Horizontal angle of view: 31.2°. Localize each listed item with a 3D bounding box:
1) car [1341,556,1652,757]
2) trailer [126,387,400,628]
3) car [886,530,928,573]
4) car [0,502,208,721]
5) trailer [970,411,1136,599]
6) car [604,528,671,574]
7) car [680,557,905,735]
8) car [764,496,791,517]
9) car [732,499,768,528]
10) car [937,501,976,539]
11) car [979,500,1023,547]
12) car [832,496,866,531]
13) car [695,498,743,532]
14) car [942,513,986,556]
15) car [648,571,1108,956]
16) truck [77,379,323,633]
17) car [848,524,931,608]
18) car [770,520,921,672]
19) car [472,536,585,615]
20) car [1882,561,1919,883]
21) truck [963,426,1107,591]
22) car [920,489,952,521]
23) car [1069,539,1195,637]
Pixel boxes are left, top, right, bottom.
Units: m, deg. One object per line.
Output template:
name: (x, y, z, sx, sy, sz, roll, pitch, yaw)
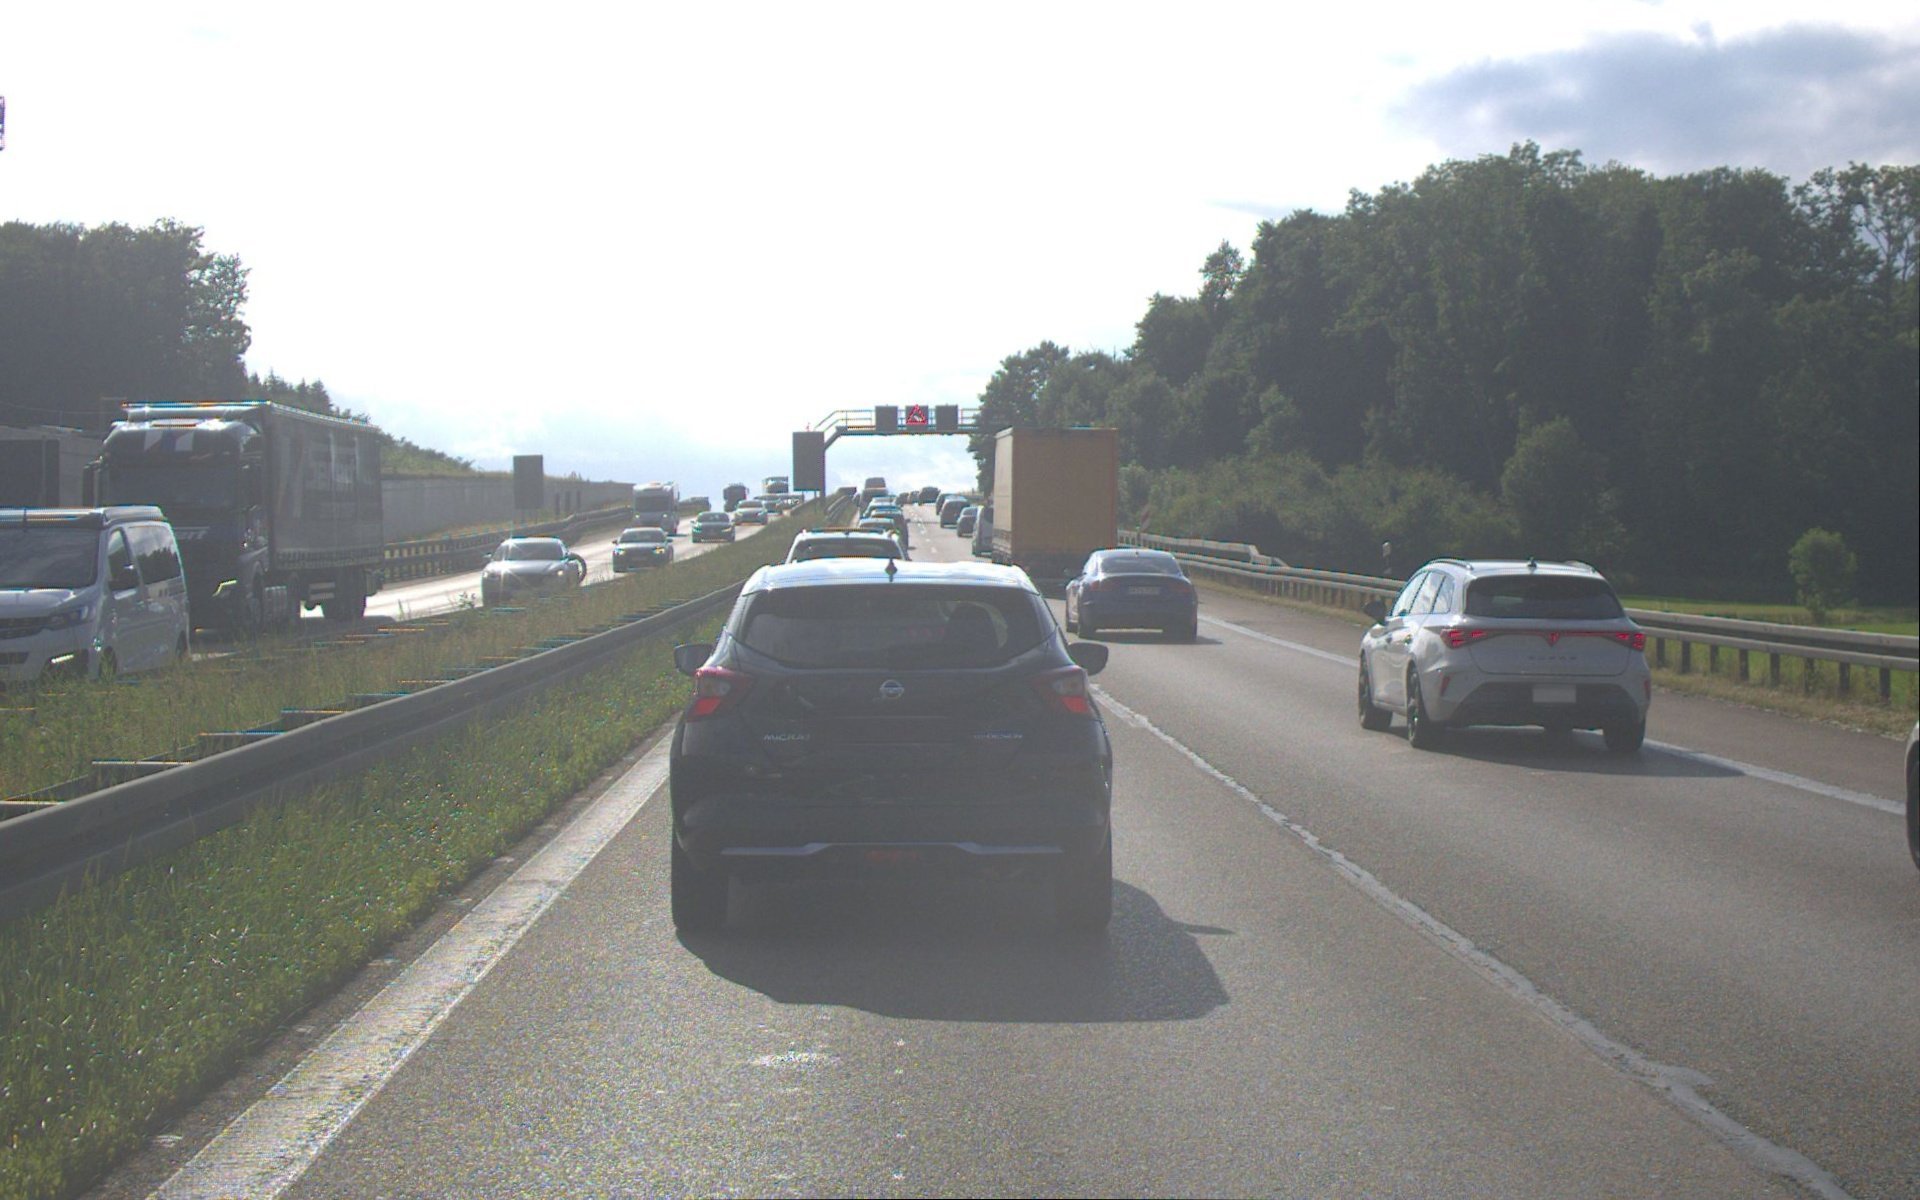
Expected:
car: (4.135, 0.400, 27.078, 1.620, 1.441, 4.147, 1, 0, -2)
trailer: (-12.936, -1.617, 65.105, 2.759, 4.101, 12.905, 0, 0, -1)
car: (-2.212, -2.014, 144.506, 1.667, 1.749, 3.327, 1, 0, 1)
car: (-8.570, 0.103, 32.254, 1.993, 1.877, 4.787, -2, 0, -1)
trailer: (2.248, -2.318, 88.573, 3.548, 4.442, 12.723, 1, 0, -2)
car: (-10.668, -1.600, 113.915, 1.902, 1.459, 4.184, 1, 0, -1)
car: (-1.325, 0.344, 28.424, 1.674, 1.362, 3.596, 1, 0, 0)
car: (-13.069, -6.697, 246.352, 1.853, 1.428, 4.449, 0, 0, -2)
car: (-12.630, -5.189, 206.748, 1.993, 1.587, 4.449, 1, 0, -2)
car: (-0.216, -4.355, 187.377, 1.993, 2.007, 4.000, 1, 0, -2)
car: (1.593, -2.936, 133.019, 1.667, 1.749, 3.327, 1, 0, 1)
car: (-6.626, -5.145, 205.163, 1.993, 2.007, 4.000, 1, 0, -2)
car: (-10.915, -3.861, 156.227, 1.993, 1.428, 4.449, 1, 0, -2)
car: (0.177, -3.178, 166.463, 1.993, 2.007, 4.000, 1, 0, -2)
car: (-0.293, 0.604, 14.566, 1.710, 1.421, 3.378, 1, 0, 1)
truck: (-12.843, -1.534, 58.677, 2.754, 4.076, 6.953, 0, 0, -1)
car: (-1.780, -0.837, 85.408, 1.993, 2.007, 4.000, 1, 0, -2)
car: (-1.325, -0.057, 40.986, 1.674, 1.720, 3.596, 1, 0, 0)
car: (-9.306, -0.538, 74.520, 1.888, 1.626, 5.111, 1, 0, -1)
car: (5.298, 0.604, 14.897, 1.548, 1.490, 3.378, 1, 1, -2)
truck: (2.017, -2.469, 95.344, 3.581, 4.365, 6.689, 1, 0, -2)
car: (-1.579, -6.263, 226.956, 1.993, 2.007, 4.000, 1, 0, -2)
car: (2.665, -0.195, 54.018, 1.747, 1.470, 4.147, 1, 0, 0)
